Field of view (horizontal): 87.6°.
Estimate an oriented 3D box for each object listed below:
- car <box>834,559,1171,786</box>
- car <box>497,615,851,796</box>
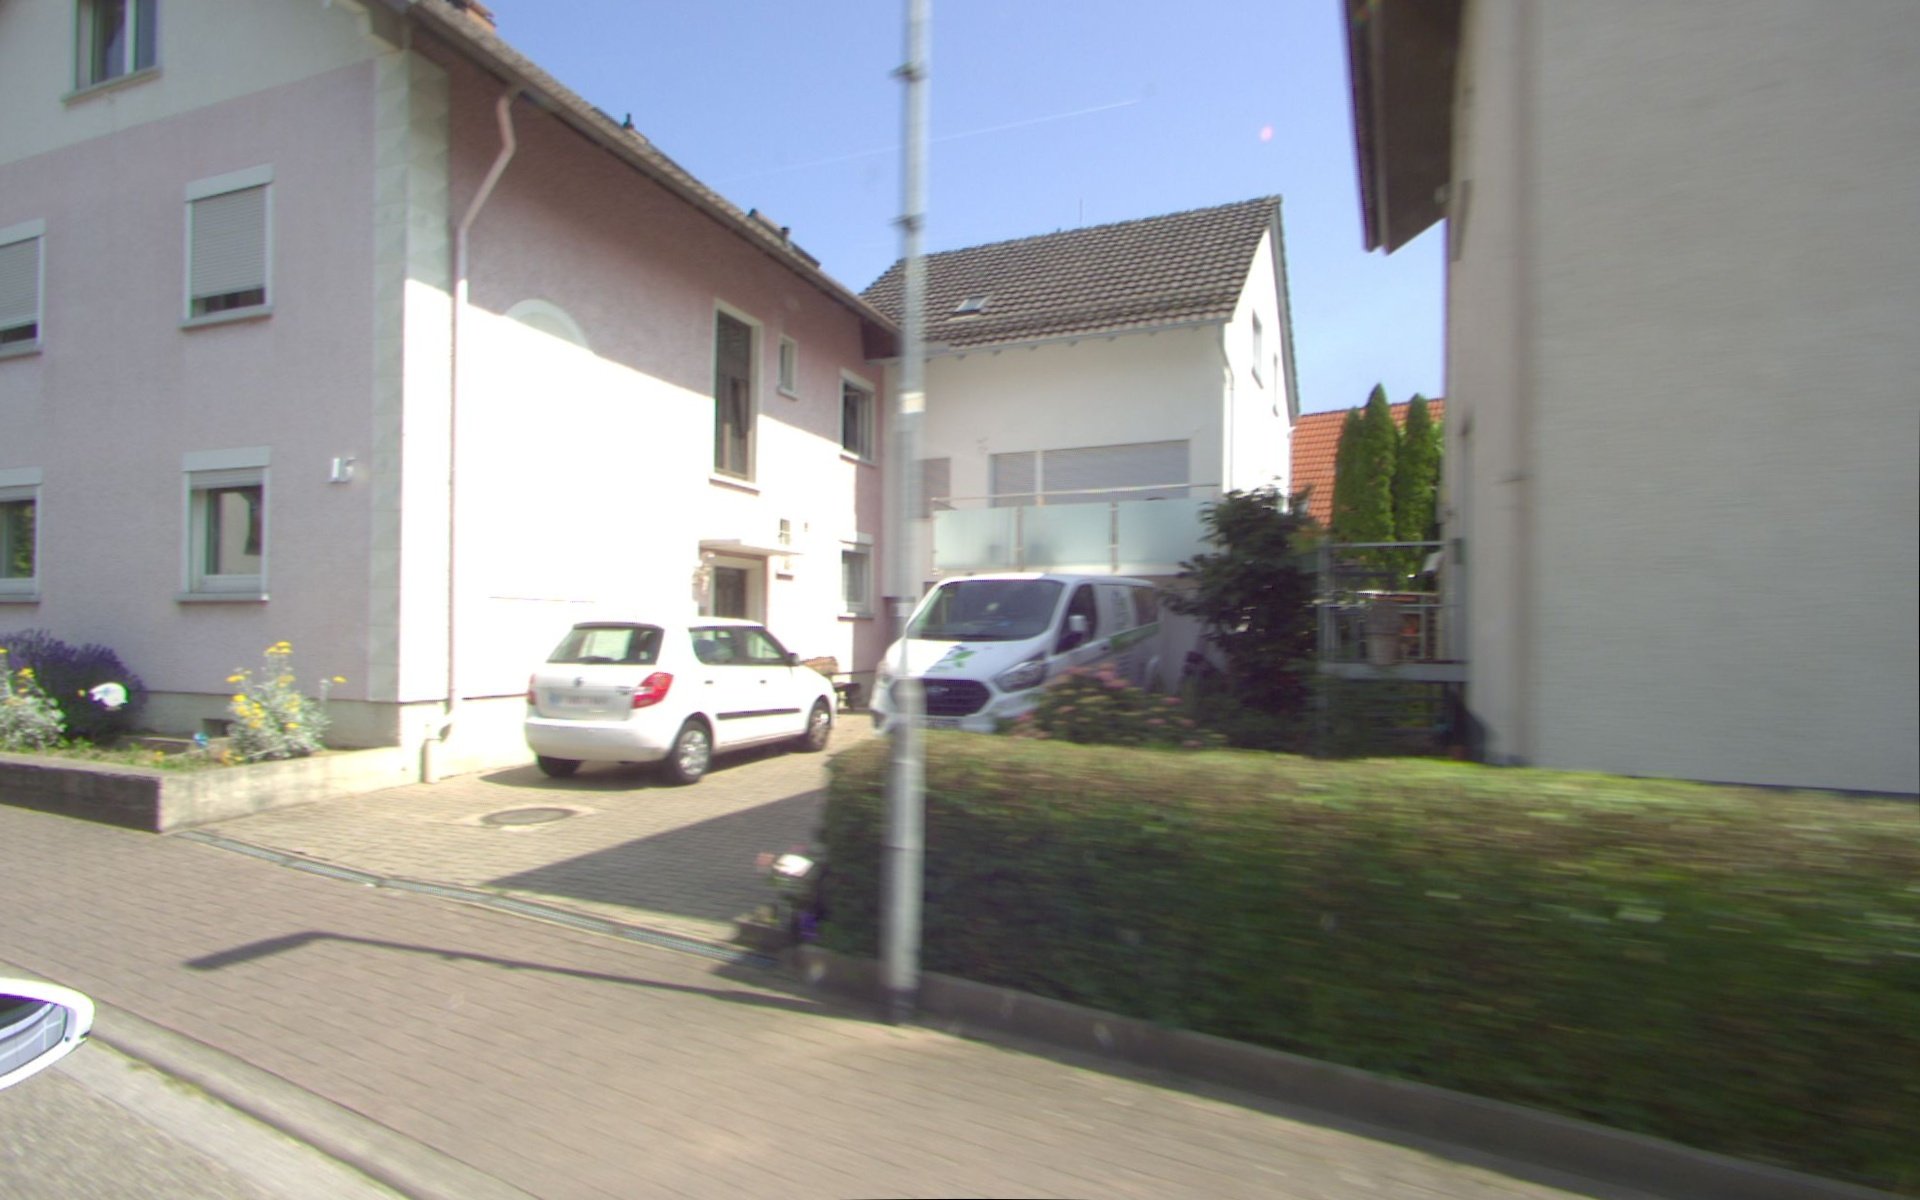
[{"bbox_3d":[0.779,0.660,11.237,2.022,1.938,4.980,0,-1,25],"label":"car"},{"bbox_3d":[-2.684,0.905,10.307,1.651,1.480,3.753,0,-1,19],"label":"car"}]
